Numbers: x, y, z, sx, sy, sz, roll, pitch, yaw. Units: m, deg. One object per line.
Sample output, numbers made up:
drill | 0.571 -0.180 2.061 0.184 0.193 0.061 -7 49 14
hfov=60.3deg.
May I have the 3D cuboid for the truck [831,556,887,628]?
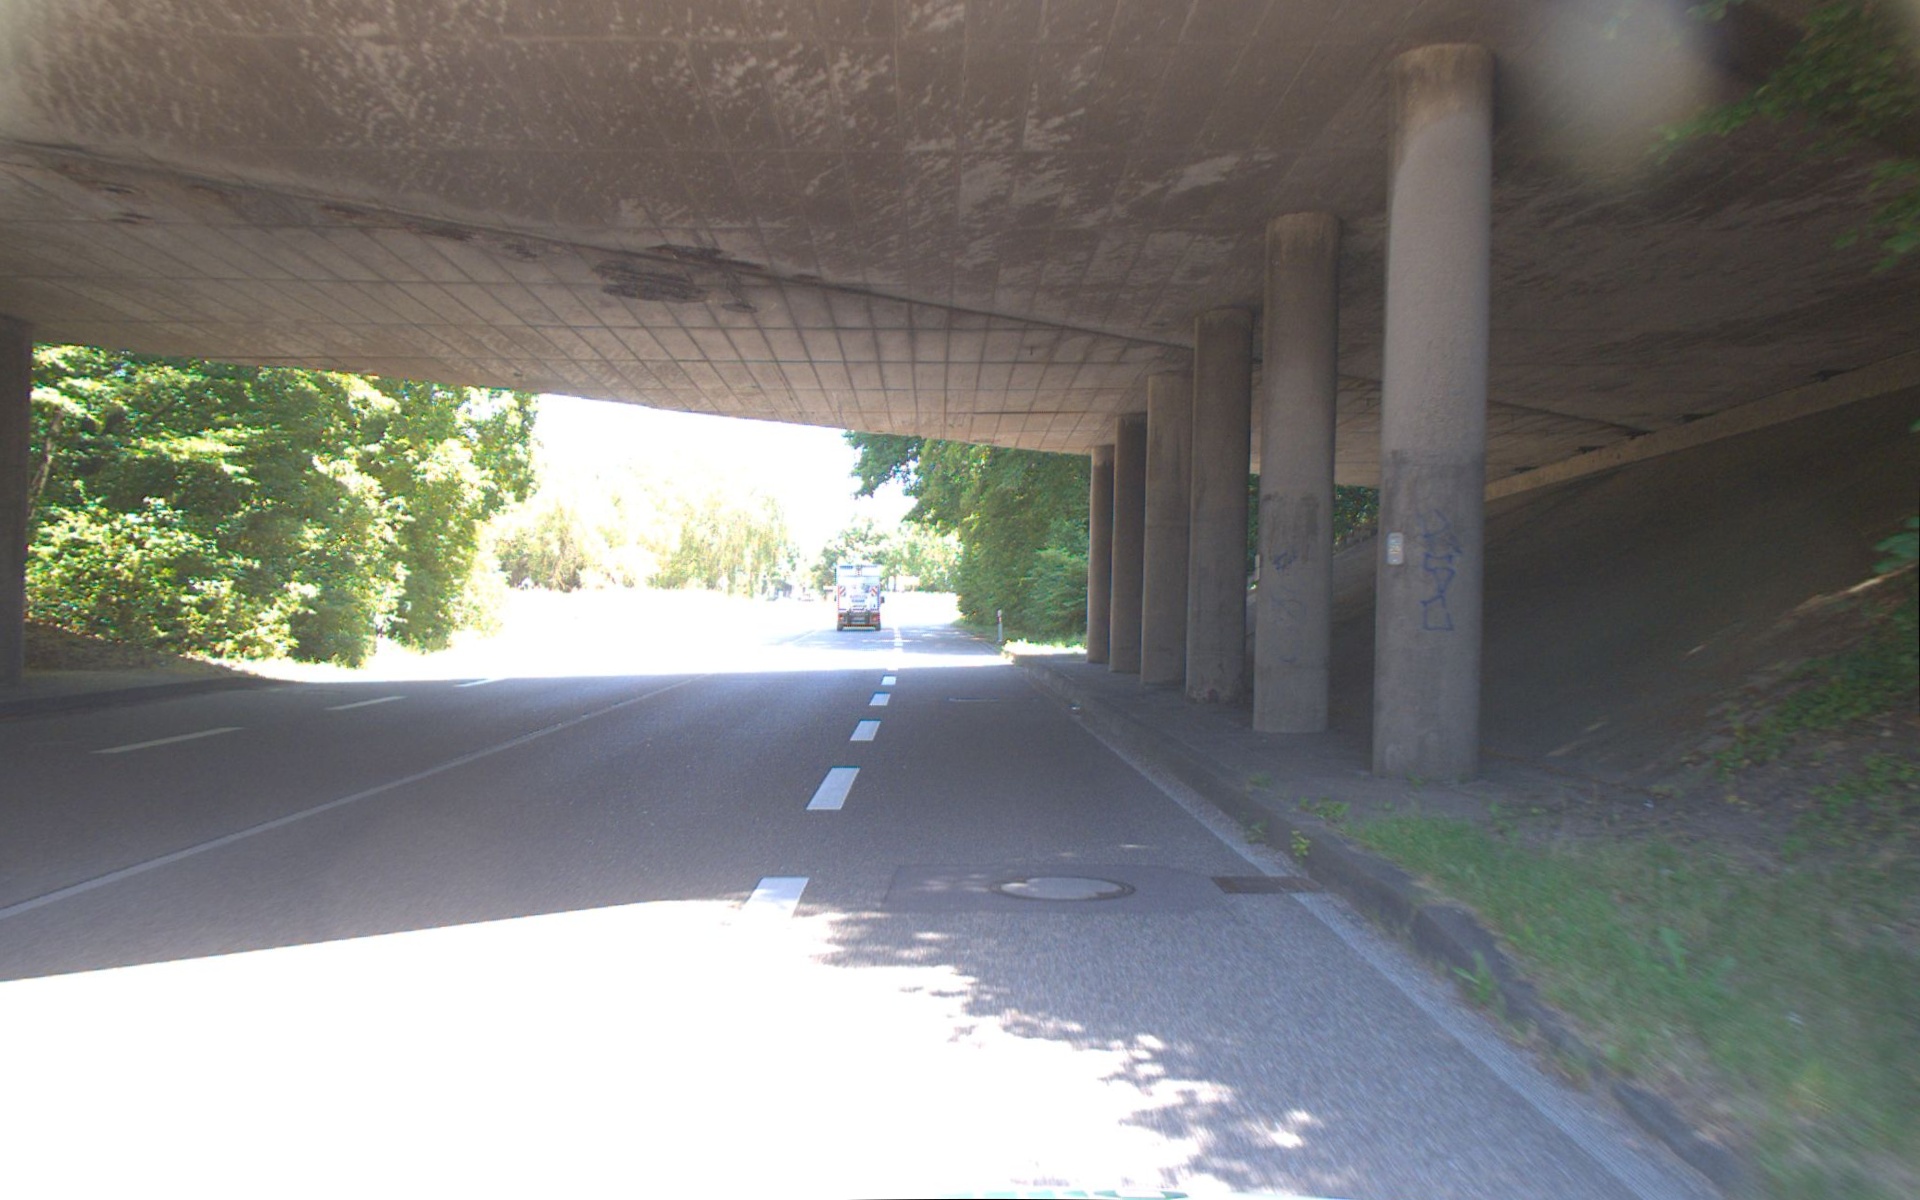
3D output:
truck | -4.667 -0.407 76.257 2.483 3.190 5.357 0 1 -4
